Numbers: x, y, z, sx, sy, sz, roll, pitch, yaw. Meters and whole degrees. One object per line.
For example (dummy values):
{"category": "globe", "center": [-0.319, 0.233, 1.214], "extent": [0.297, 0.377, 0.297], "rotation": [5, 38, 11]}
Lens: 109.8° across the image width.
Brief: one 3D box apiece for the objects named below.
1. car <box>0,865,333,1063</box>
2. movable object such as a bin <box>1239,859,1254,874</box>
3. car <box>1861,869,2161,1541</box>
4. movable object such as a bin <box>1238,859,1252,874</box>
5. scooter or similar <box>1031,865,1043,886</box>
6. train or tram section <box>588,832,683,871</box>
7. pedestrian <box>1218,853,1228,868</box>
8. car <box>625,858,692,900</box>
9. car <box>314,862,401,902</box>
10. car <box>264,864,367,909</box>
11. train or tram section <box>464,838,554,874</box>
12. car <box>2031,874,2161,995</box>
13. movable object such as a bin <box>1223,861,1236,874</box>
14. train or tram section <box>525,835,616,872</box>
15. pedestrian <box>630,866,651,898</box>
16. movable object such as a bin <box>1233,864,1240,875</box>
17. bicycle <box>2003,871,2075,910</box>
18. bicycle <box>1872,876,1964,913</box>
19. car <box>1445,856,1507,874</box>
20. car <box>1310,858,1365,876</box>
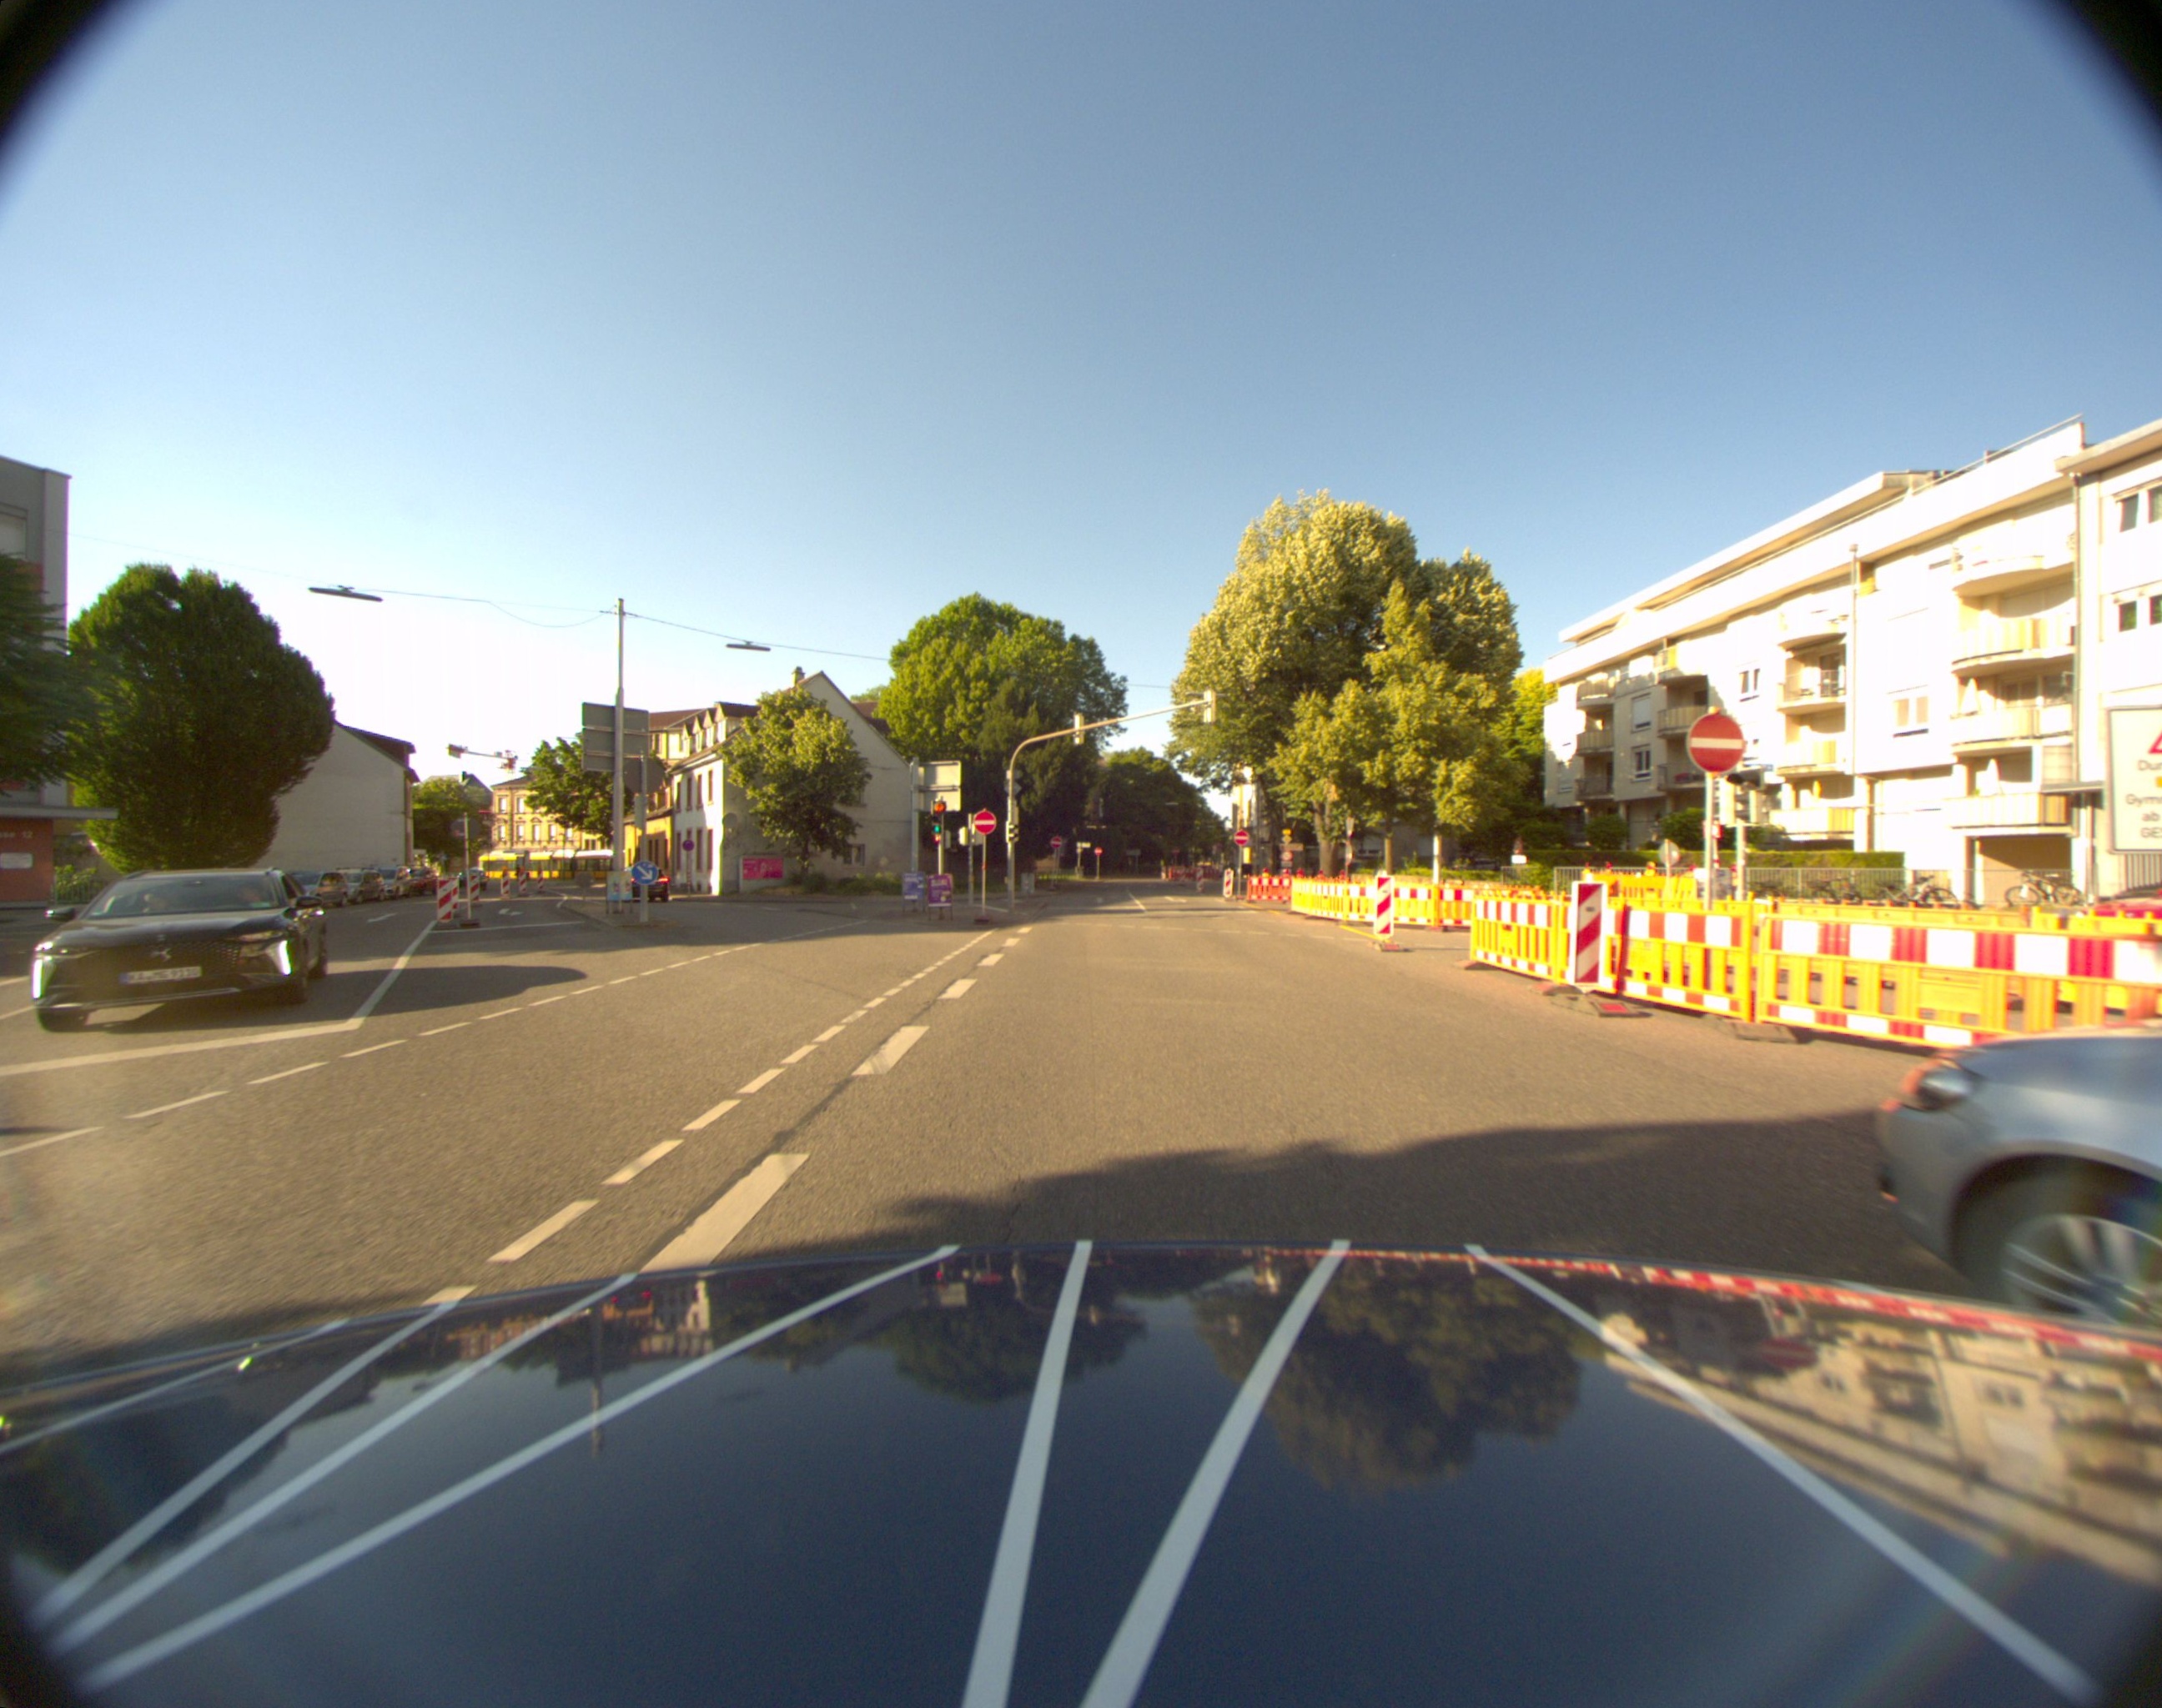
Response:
{"category": "car", "center": [-10.720, 1.035, 9.210], "extent": [2.003, 1.661, 4.651], "rotation": [-5, 3, -41]}
{"category": "movable object such as a bin", "center": [16.218, 1.192, 74.535], "extent": [1.085, 1.422, 1.346], "rotation": [-1, 0, 1]}
{"category": "car", "center": [3.507, 0.801, 0.458], "extent": [1.781, 1.534, 3.998], "rotation": [-1, 0, -5]}
{"category": "movable object such as a bin", "center": [16.470, 1.238, 76.251], "extent": [1.085, 1.422, 1.407], "rotation": [-1, 0, 1]}
{"category": "scooter or similar", "center": [-2.603, 1.254, 44.898], "extent": [0.439, 1.195, 1.259], "rotation": [3, 0, 7]}
{"category": "train or tram section", "center": [-43.746, -0.216, 74.601], "extent": [9.247, 3.498, 2.802], "rotation": [-2, 0, 21]}
{"category": "pedestrian", "center": [15.071, 0.663, 80.544], "extent": [0.823, 1.594, 0.917], "rotation": [-1, 0, -3]}
{"category": "car", "center": [-19.489, 1.153, 34.988], "extent": [2.005, 1.804, 4.240], "rotation": [3, -3, -38]}
{"category": "car", "center": [-35.070, 1.324, 36.974], "extent": [2.003, 1.770, 4.219], "rotation": [-1, 0, -29]}
{"category": "car", "center": [-33.010, 1.340, 32.932], "extent": [2.003, 1.770, 4.219], "rotation": [-1, 0, -29]}
{"category": "train or tram section", "center": [-61.116, 0.270, 81.160], "extent": [9.843, 3.580, 2.853], "rotation": [-2, 0, 21]}
{"category": "car", "center": [16.014, 1.008, 10.150], "extent": [4.000, 1.470, 2.000], "rotation": [-2, 0, 2]}
{"category": "movable object such as a bin", "center": [16.378, 1.506, 83.809], "extent": [1.083, 1.422, 1.409], "rotation": [-2, 0, 21]}
{"category": "train or tram section", "center": [-52.310, -0.006, 77.854], "extent": [9.247, 3.498, 2.802], "rotation": [-2, 0, 20]}
{"category": "pedestrian", "center": [-25.780, 1.618, 44.471], "extent": [0.959, 1.827, 1.286], "rotation": [-1, 0, -33]}
{"category": "movable object such as a bin", "center": [16.154, 1.602, 78.822], "extent": [0.637, 1.035, 0.764], "rotation": [-1, 0, 6]}
{"category": "bicycle", "center": [27.069, 1.002, 21.494], "extent": [0.384, 1.040, 1.358], "rotation": [-1, 0, 4]}
{"category": "bicycle", "center": [24.440, 1.178, 22.202], "extent": [2.032, 1.021, 0.385], "rotation": [-2, 0, 8]}
{"category": "car", "center": [32.210, 0.885, 62.063], "extent": [3.995, 1.477, 2.001], "rotation": [0, 0, 5]}
{"category": "car", "center": [21.525, 1.082, 63.848], "extent": [3.995, 1.543, 2.001], "rotation": [0, 0, 5]}
